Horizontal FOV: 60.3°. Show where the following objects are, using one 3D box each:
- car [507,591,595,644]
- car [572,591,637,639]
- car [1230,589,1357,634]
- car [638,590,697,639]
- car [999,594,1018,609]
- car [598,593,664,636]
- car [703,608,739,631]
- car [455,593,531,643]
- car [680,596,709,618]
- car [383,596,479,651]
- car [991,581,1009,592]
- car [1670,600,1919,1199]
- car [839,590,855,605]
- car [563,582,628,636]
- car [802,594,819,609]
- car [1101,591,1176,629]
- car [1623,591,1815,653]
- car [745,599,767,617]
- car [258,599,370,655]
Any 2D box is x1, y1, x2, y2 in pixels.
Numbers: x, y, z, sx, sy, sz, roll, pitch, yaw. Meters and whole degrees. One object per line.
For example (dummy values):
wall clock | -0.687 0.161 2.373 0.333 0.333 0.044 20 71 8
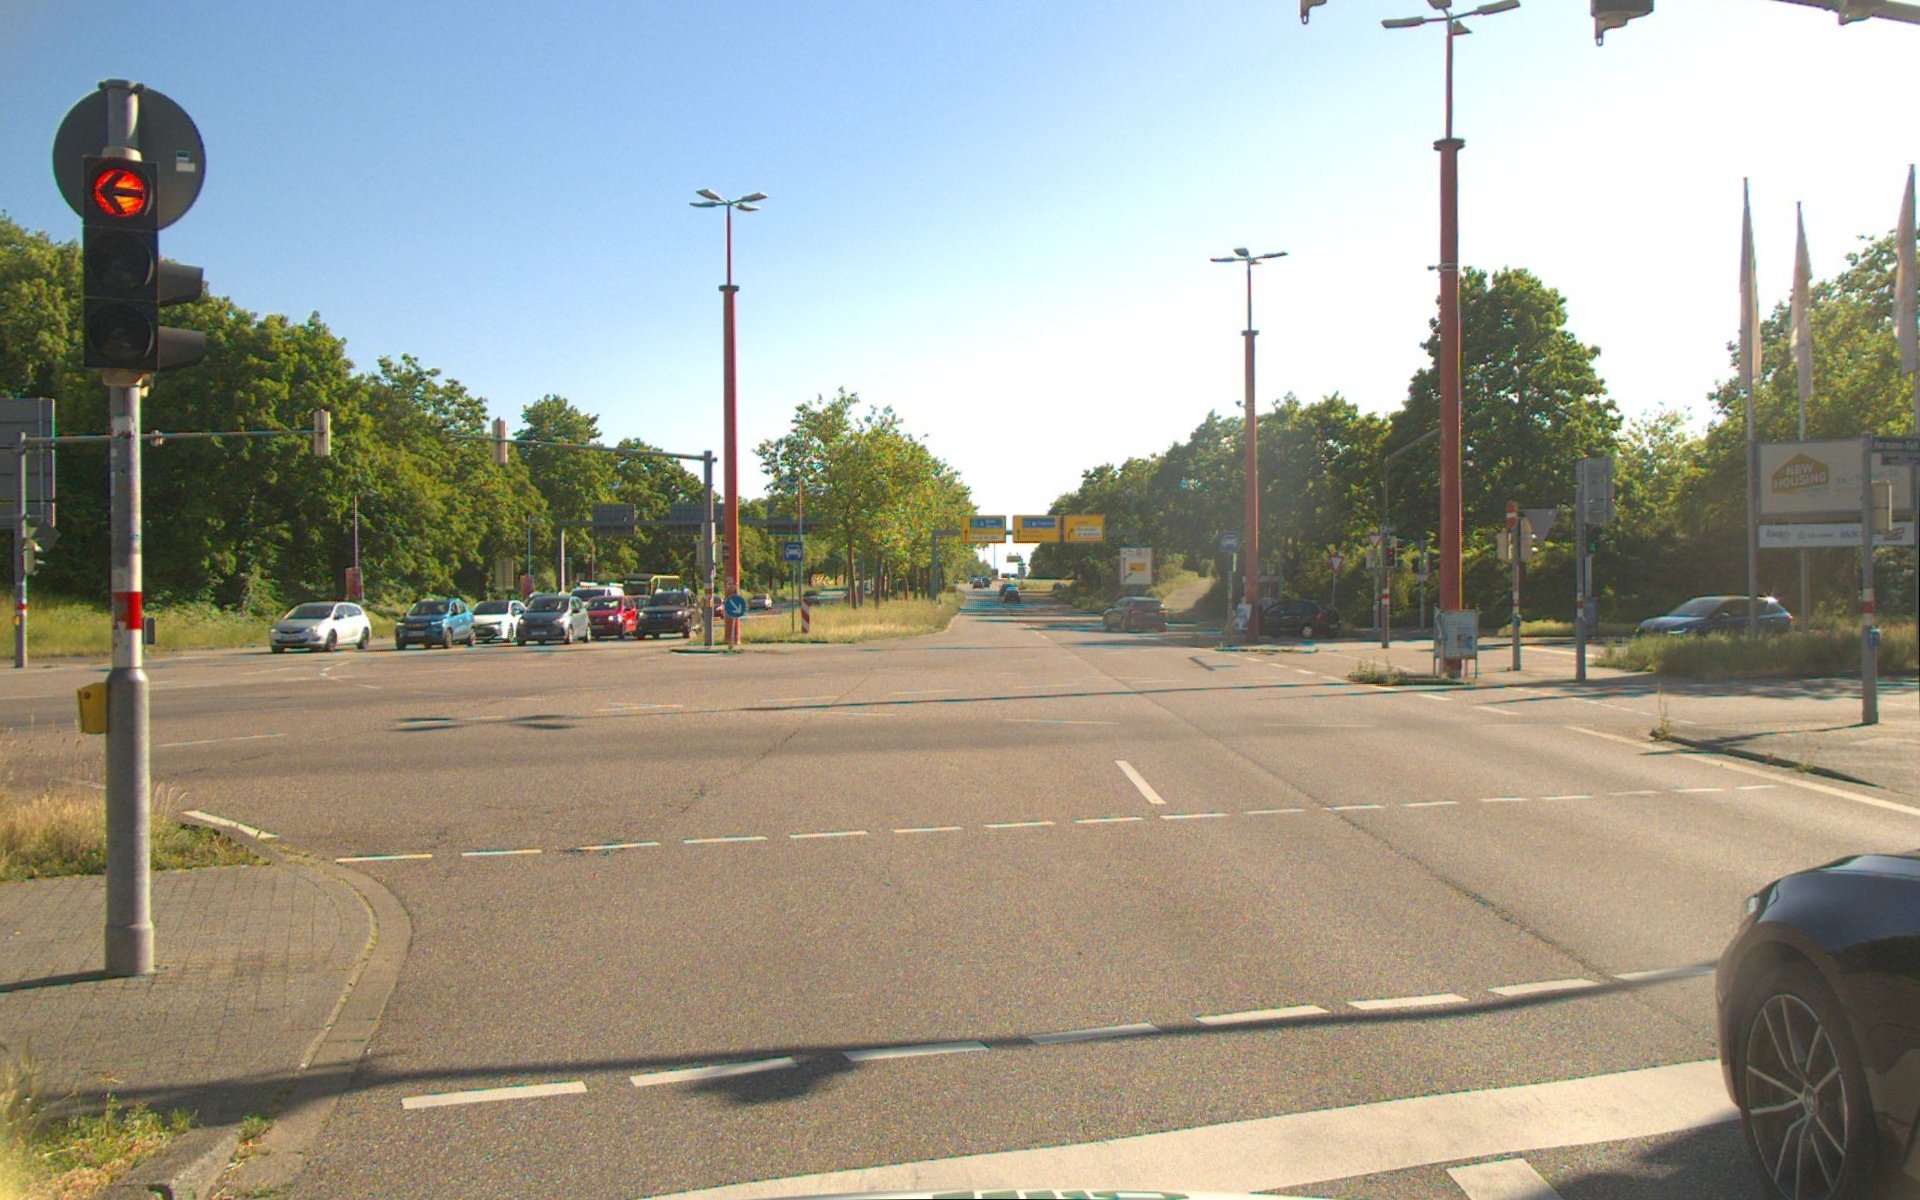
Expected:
car | -12.801 0.519 51.970 1.954 1.601 4.118 0 0 -4
car | -12.475 0.504 58.277 1.956 1.601 4.113 0 0 -8
car | 12.416 0.424 61.778 2.149 1.601 4.213 -1 0 -43
car | -9.870 0.468 55.997 1.841 1.601 4.113 0 0 -8
car | 5.386 0.194 183.447 2.114 1.601 4.281 0 0 1
car | -12.707 0.524 64.052 1.954 1.601 4.117 0 0 -4
car | -15.488 1.251 107.349 1.784 1.480 3.656 0 0 0
car | -15.986 0.594 56.789 1.956 1.601 4.113 -1 0 -8
car | -19.966 0.517 124.501 1.840 1.601 4.116 0 0 -5
car | -16.204 0.680 50.896 1.955 1.601 4.116 0 0 -5
car | 5.471 -1.850 227.314 2.116 1.601 4.277 0 0 -4
car | 2.980 0.715 2.367 1.953 1.419 4.476 0 0 -1
car | -14.134 -0.294 206.718 1.860 1.802 3.847 0 0 -3
car | -15.668 0.382 71.270 2.021 2.231 4.376 0 0 -3
car | -16.007 0.152 177.060 1.840 1.601 4.116 0 0 -5
car | 7.793 0.404 72.595 2.120 1.601 4.572 0 0 -10
car | 18.764 0.525 40.908 4.202 1.453 1.874 0 0 -19
car | -18.489 0.712 150.156 1.840 1.601 3.943 0 0 -5
car | -19.582 0.783 50.303 1.954 1.601 4.118 0 0 -3
